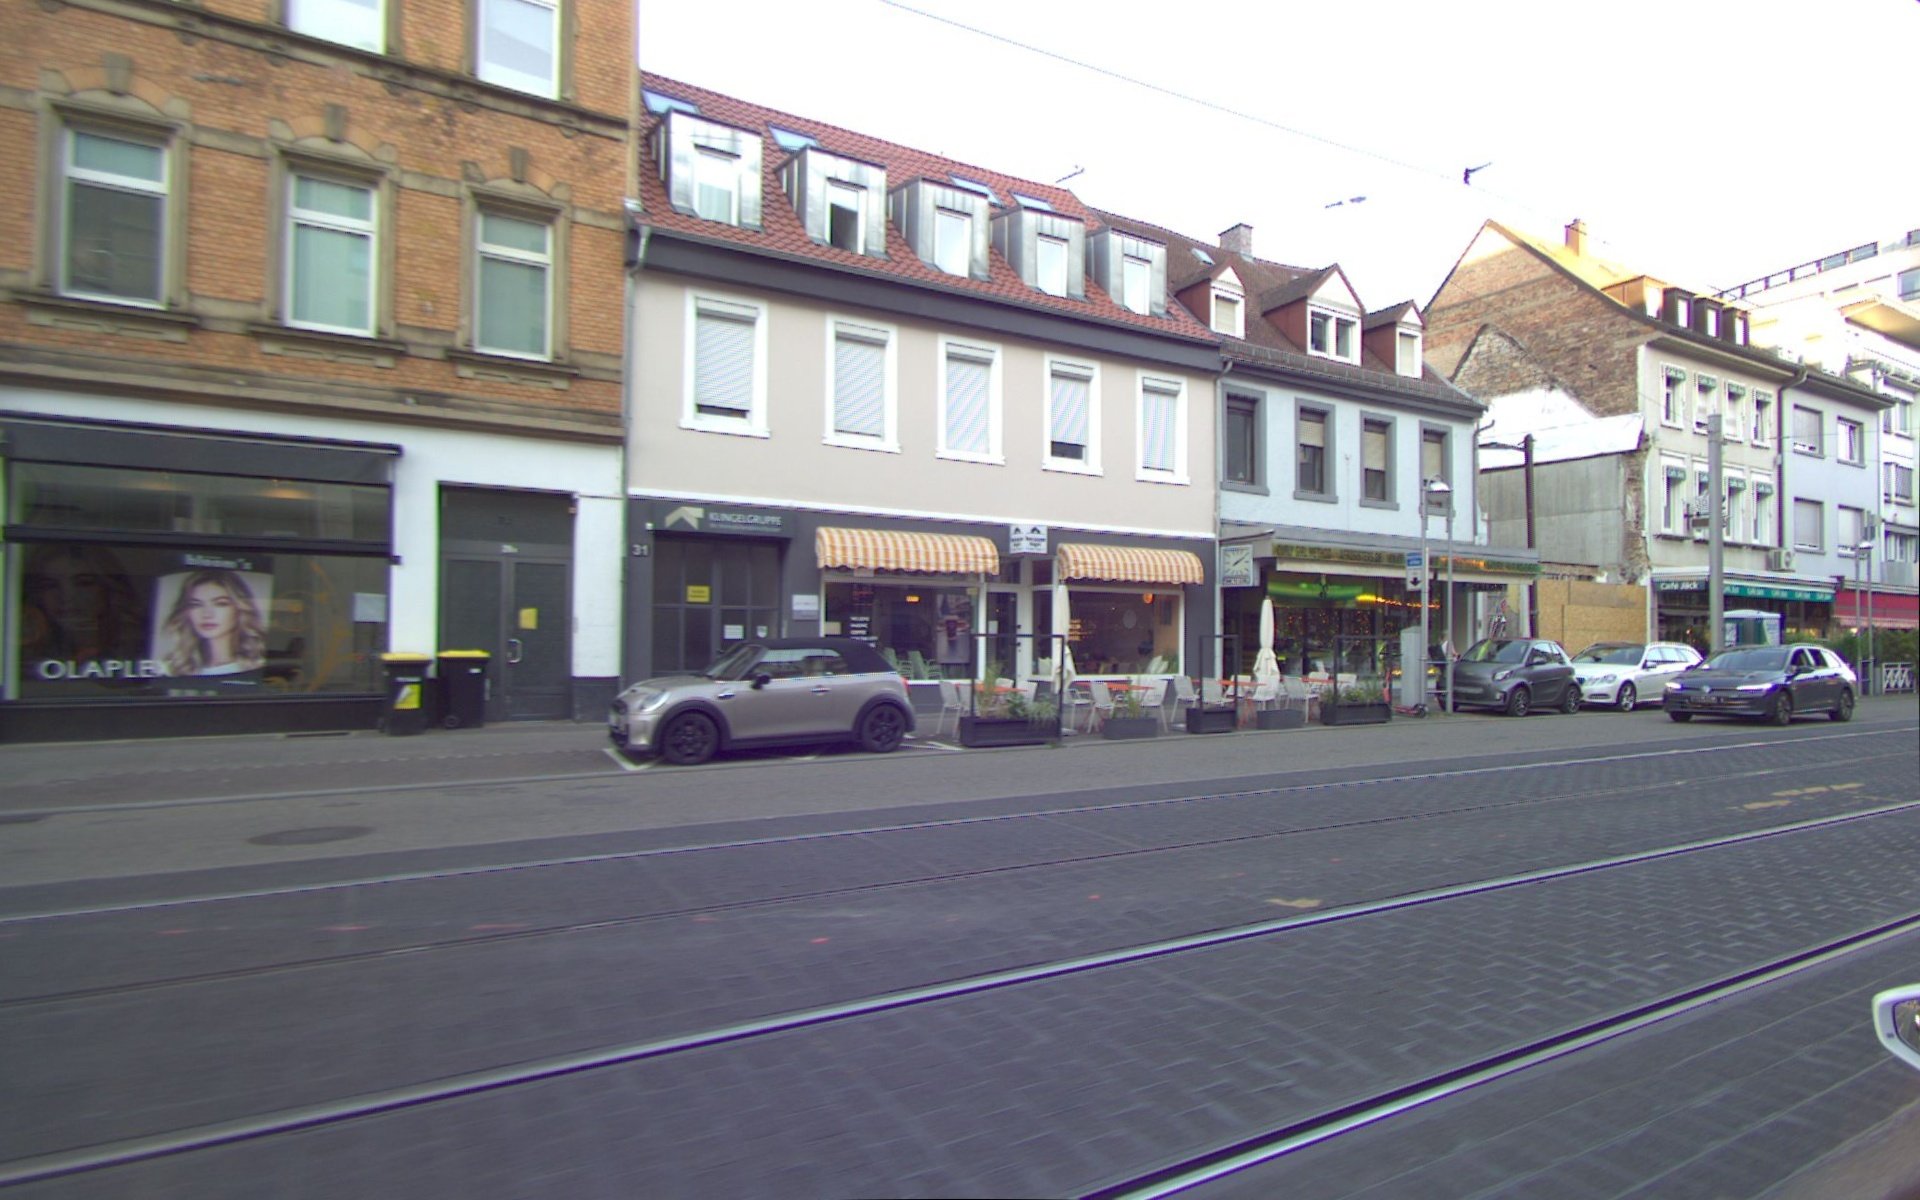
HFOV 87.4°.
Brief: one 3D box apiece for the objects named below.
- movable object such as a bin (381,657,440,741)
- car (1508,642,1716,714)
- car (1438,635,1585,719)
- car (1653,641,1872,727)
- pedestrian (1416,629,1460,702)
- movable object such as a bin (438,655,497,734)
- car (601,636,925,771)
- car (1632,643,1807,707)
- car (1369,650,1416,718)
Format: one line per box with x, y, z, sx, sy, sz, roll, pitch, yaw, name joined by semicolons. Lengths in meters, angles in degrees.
-7.273;1.293;13.291;0.652;1.057;0.515;1;0;-30;movable object such as a bin
14.896;1.722;22.911;4.763;1.472;1.985;2;-2;-29;car
11.274;1.526;20.522;2.763;1.598;1.469;2;-2;-32;car
15.286;1.544;19.094;4.411;1.472;1.685;1;-4;-29;car
11.145;1.518;23.408;0.686;1.666;0.659;1;-1;-29;pedestrian
-6.911;1.308;14.092;0.686;1.047;0.492;1;0;-30;movable object such as a bin
-2.480;1.218;12.857;3.766;1.459;1.591;1;-1;-29;car
19.275;1.857;25.476;4.277;1.472;1.985;2;-2;-29;car
8.300;1.599;19.307;0.336;1.251;0.779;1;-2;-31;car
